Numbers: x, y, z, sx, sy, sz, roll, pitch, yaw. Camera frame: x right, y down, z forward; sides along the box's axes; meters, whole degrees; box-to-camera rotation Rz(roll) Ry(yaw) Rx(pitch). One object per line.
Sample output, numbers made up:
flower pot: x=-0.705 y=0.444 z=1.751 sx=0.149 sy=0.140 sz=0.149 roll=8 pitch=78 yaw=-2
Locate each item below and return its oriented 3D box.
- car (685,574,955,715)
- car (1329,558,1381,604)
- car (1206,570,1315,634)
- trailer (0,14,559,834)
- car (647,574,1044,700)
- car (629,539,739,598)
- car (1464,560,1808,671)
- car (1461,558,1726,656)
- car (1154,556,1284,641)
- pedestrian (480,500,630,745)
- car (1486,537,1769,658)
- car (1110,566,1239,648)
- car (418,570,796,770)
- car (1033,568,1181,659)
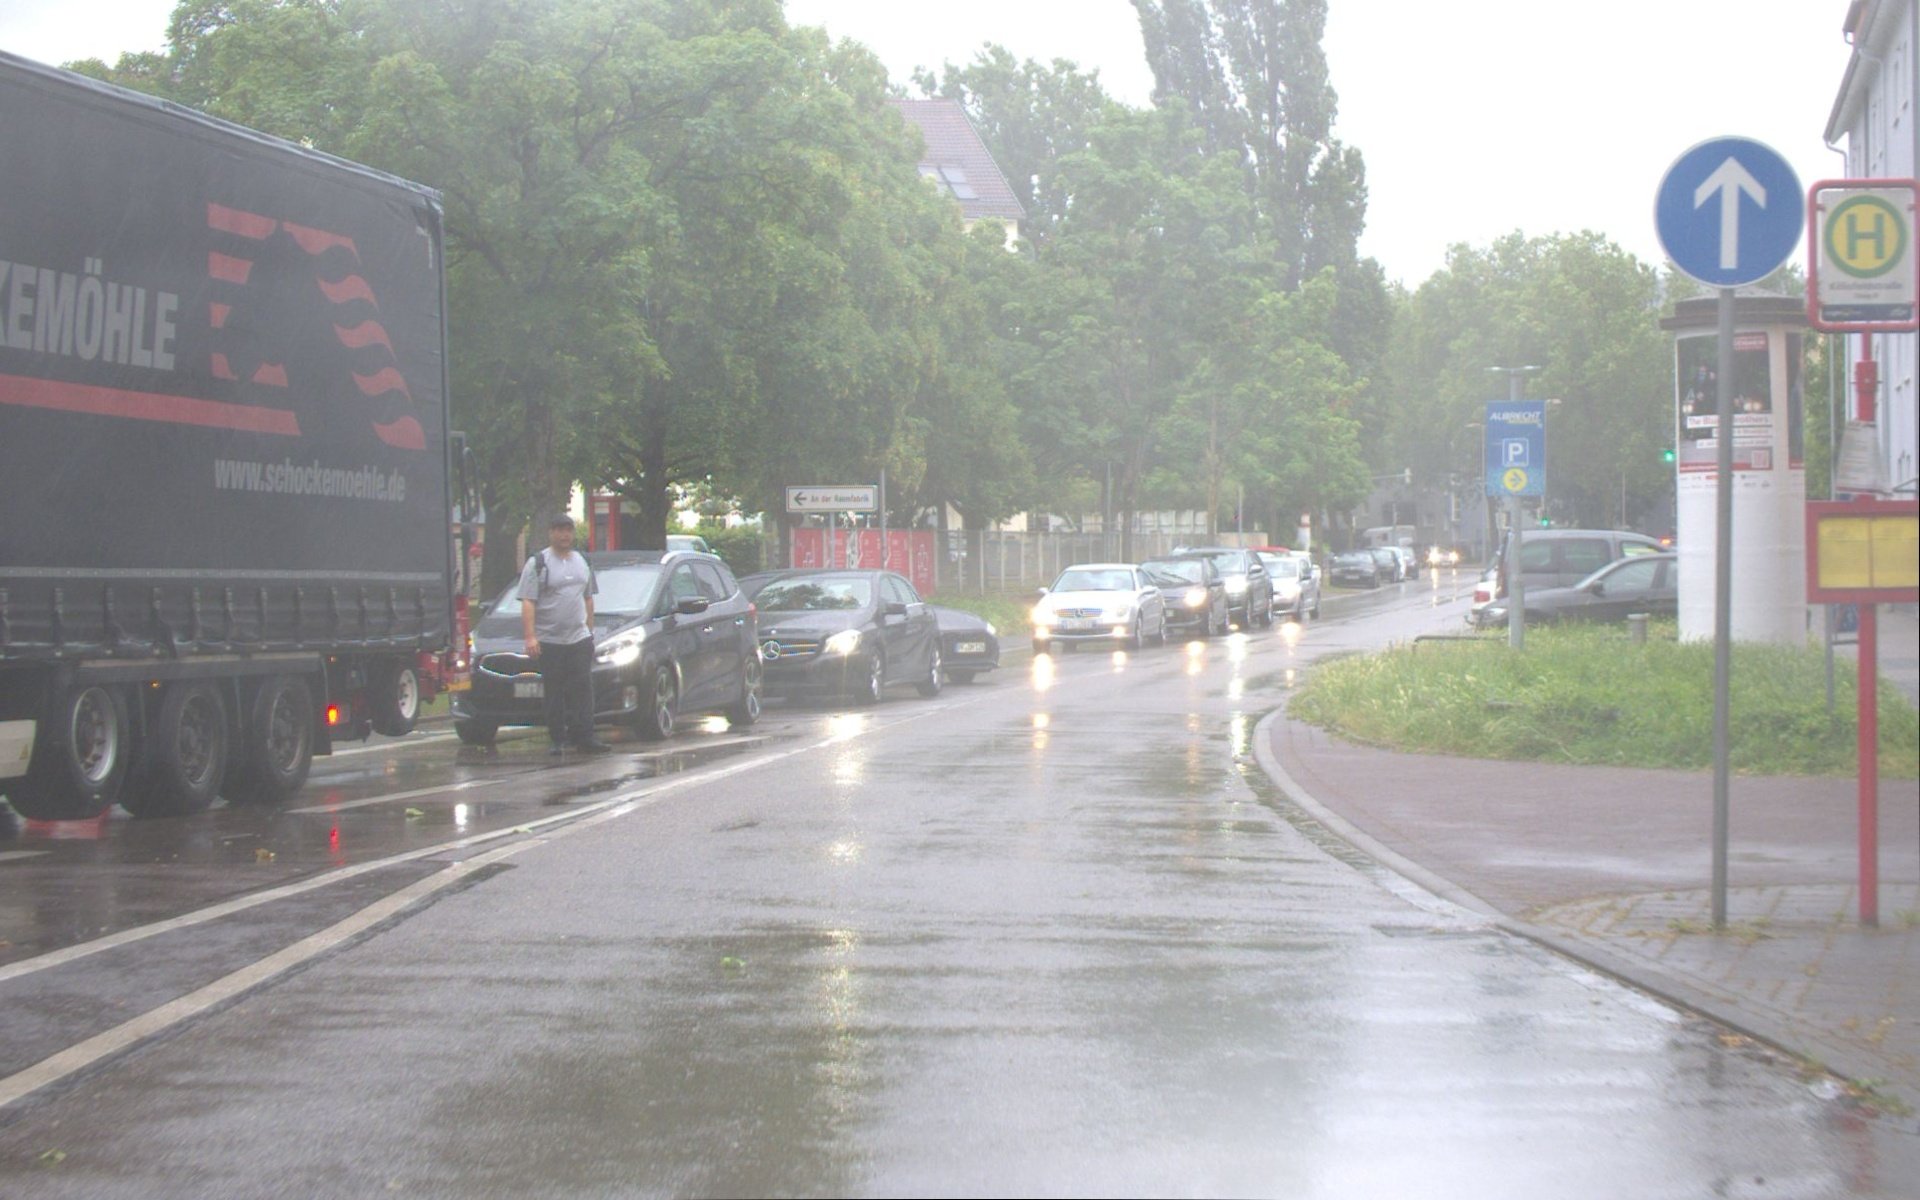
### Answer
car: x=-1.405 y=0.431 z=36.442 sx=1.727 sy=1.356 sz=4.335 roll=-1 pitch=1 yaw=13
car: x=14.586 y=-0.717 z=127.049 sx=1.776 sy=1.524 sz=4.000 roll=1 pitch=2 yaw=5
car: x=6.696 y=0.021 z=76.175 sx=1.673 sy=1.378 sz=4.249 roll=0 pitch=1 yaw=15
trailer: x=-6.202 y=-0.879 z=18.246 sx=3.444 sy=4.035 sz=15.043 roll=0 pitch=1 yaw=12
car: x=-1.478 y=0.416 z=42.644 sx=4.925 sy=1.449 sz=2.081 roll=0 pitch=1 yaw=44
car: x=-7.681 y=-0.862 z=95.357 sx=1.844 sy=1.567 sz=4.001 roll=1 pitch=0 yaw=-24
car: x=9.277 y=0.215 z=47.212 sx=4.535 sy=1.465 sz=1.982 roll=0 pitch=0 yaw=12
car: x=10.340 y=0.112 z=56.182 sx=4.191 sy=1.563 sz=1.888 roll=0 pitch=0 yaw=10
car: x=5.342 y=-0.043 z=70.290 sx=1.915 sy=1.634 sz=4.819 roll=1 pitch=0 yaw=13
pedestrian: x=-3.115 y=0.158 z=26.381 sx=0.868 sy=1.837 sz=0.992 roll=-1 pitch=1 yaw=-25
car: x=10.344 y=-0.037 z=53.572 sx=4.233 sy=1.799 sz=1.944 roll=-1 pitch=0 yaw=9
car: x=4.000 y=0.109 z=63.583 sx=1.780 sy=1.415 sz=4.263 roll=0 pitch=1 yaw=12
car: x=-2.991 y=0.610 z=30.256 sx=1.868 sy=1.614 sz=4.799 roll=0 pitch=-1 yaw=13
car: x=2.465 y=0.197 z=56.494 sx=1.775 sy=1.398 sz=4.828 roll=1 pitch=0 yaw=10
